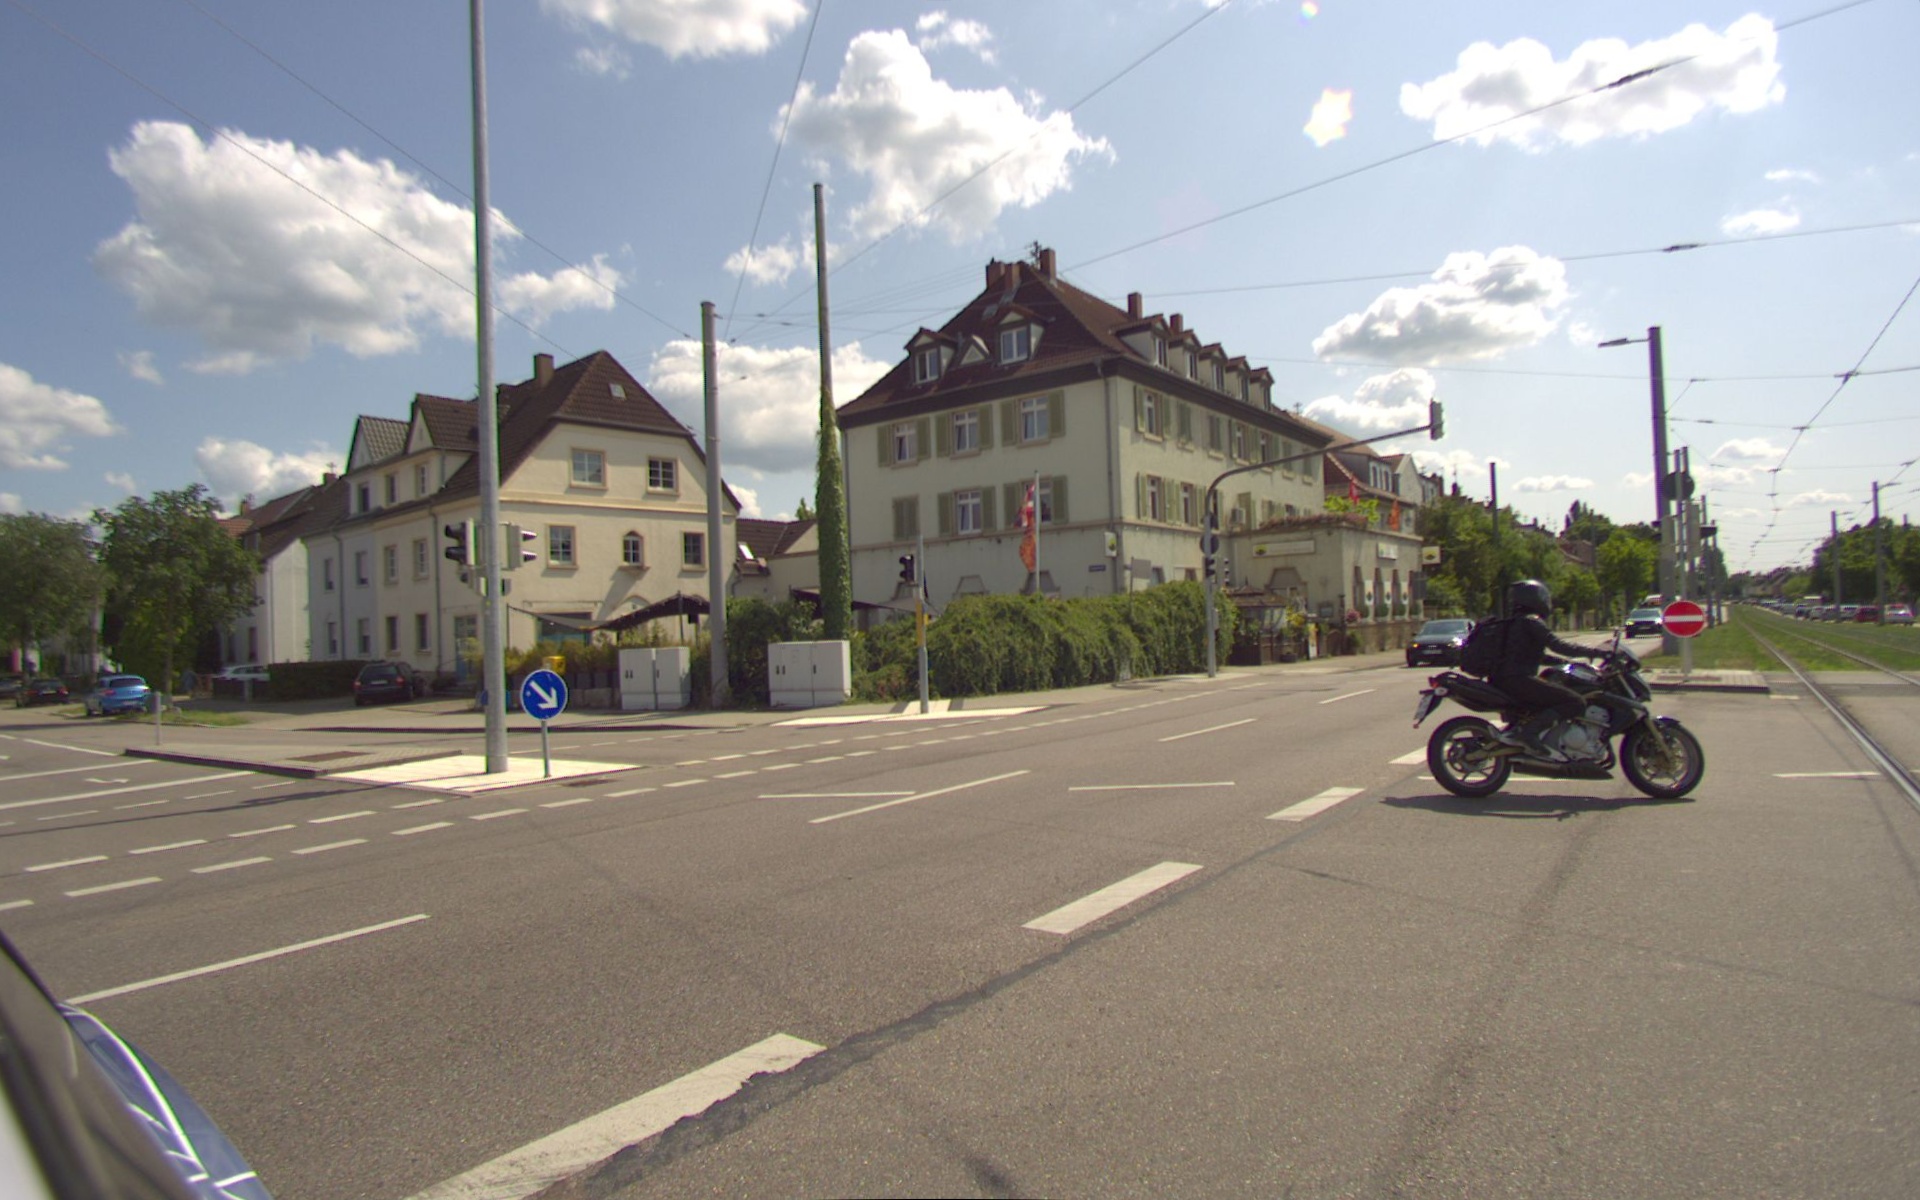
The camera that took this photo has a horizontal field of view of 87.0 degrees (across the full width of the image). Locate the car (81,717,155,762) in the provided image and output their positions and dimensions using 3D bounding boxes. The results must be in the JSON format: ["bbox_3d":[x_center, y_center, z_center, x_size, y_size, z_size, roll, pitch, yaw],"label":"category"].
[{"bbox_3d":[-32.211,5.304,38.698,3.152,1.473,1.688,-6,-4,40],"label":"car"}]

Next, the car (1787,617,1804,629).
[{"bbox_3d":[132.633,3.580,160.566,1.801,1.730,3.944,-7,-5,42],"label":"car"}]

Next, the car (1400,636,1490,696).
[{"bbox_3d":[15.047,2.008,31.288,1.744,1.596,3.877,-6,-4,36],"label":"car"}]

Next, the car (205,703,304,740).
[{"bbox_3d":[-34.659,5.937,49.775,1.711,1.465,3.754,-7,-4,43],"label":"car"}]

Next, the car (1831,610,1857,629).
[{"bbox_3d":[89.783,1.967,102.720,1.801,1.730,3.944,-6,-5,42],"label":"car"}]

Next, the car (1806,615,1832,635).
[{"bbox_3d":[96.080,2.752,113.194,2.000,2.029,3.944,-6,-5,42],"label":"car"}]

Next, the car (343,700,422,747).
[{"bbox_3d":[-20.563,4.362,36.193,1.732,1.397,4.114,-2,-3,-20],"label":"car"}]

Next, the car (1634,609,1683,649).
[{"bbox_3d":[37.548,1.533,54.385,1.902,2.029,3.668,-5,-3,37],"label":"car"}]

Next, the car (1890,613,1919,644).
[{"bbox_3d":[66.818,1.946,71.060,2.000,2.029,3.944,-6,-5,42],"label":"car"}]

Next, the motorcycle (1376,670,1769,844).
[{"bbox_3d":[4.533,1.163,7.681,2.330,1.136,0.842,-3,-3,7],"label":"motorcycle"}]

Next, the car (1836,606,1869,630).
[{"bbox_3d":[81.105,1.645,91.961,2.000,2.029,3.944,-6,-5,42],"label":"car"}]

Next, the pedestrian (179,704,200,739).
[{"bbox_3d":[-35.448,5.571,46.558,0.618,1.547,0.623,-6,-4,42],"label":"pedestrian"}]

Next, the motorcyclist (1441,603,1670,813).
[{"bbox_3d":[4.478,0.802,7.708,1.087,1.409,0.823,-7,-4,7],"label":"motorcyclist"}]

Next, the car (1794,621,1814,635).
[{"bbox_3d":[113.404,3.792,136.022,1.801,1.730,3.944,-7,-5,42],"label":"car"}]

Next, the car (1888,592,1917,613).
[{"bbox_3d":[98.990,0.275,106.359,2.000,2.029,3.944,-6,-5,42],"label":"car"}]

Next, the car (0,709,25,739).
[{"bbox_3d":[-56.133,7.301,59.451,3.574,1.667,1.541,-7,-5,44],"label":"car"}]

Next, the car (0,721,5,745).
[{"bbox_3d":[-60.778,8.351,63.240,1.601,1.436,3.003,-1,-4,-44],"label":"car"}]

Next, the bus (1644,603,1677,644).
[{"bbox_3d":[71.627,2.336,103.439,2.395,3.806,11.879,-5,-3,35],"label":"bus"}]

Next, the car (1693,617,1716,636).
[{"bbox_3d":[86.539,3.082,117.655,1.996,2.029,3.952,-5,-3,35],"label":"car"}]

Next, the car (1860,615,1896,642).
[{"bbox_3d":[75.362,2.344,83.140,2.000,2.029,3.944,-6,-5,42],"label":"car"}]

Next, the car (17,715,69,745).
[{"bbox_3d":[-45.684,6.463,50.398,3.918,1.306,1.686,-7,-5,44],"label":"car"}]
